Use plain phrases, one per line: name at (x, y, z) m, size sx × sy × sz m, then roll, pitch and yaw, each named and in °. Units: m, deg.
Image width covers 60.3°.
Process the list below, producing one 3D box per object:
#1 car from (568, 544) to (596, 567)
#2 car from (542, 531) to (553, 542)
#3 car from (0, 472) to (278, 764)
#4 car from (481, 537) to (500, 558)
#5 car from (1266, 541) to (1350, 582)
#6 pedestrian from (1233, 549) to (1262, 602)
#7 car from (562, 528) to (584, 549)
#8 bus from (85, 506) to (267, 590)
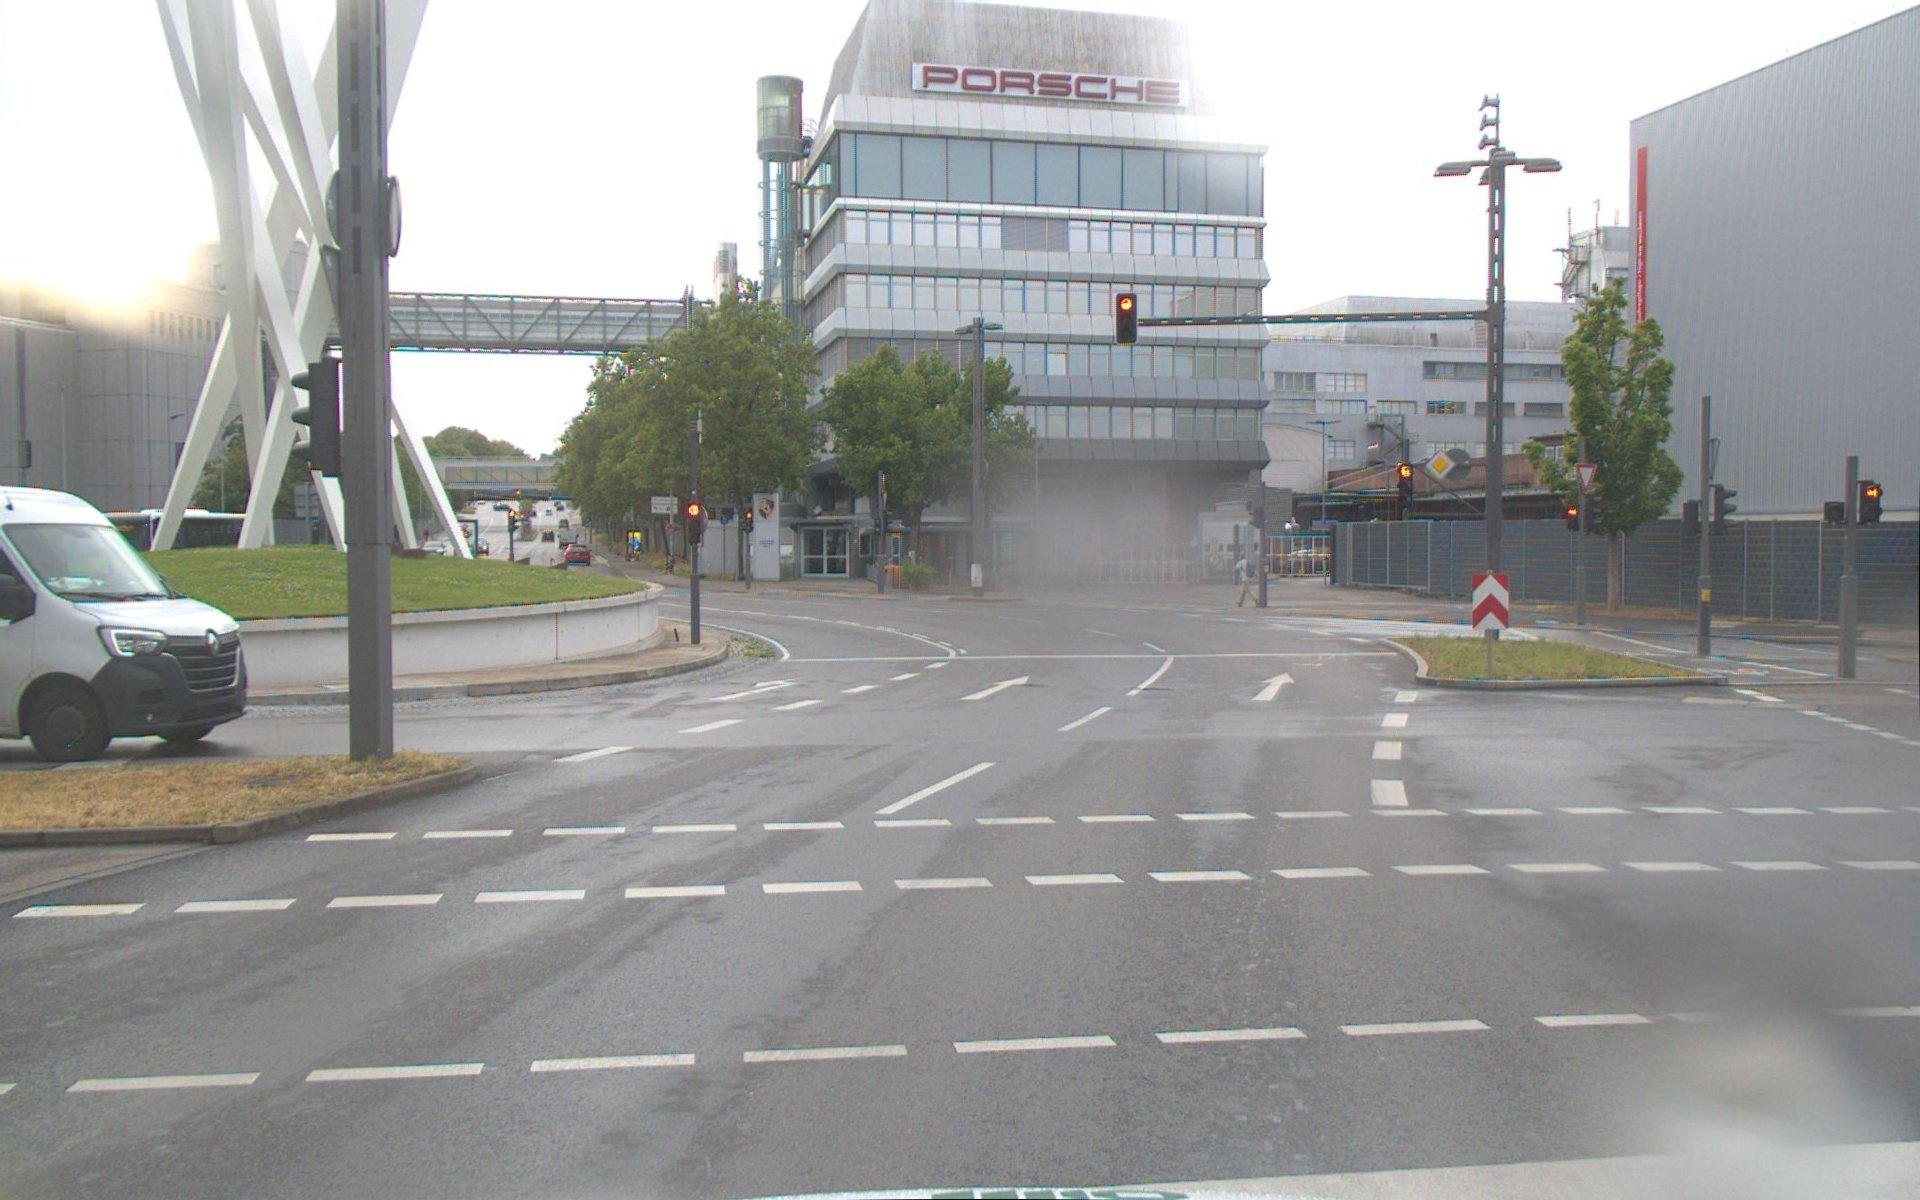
car at (-26.310, -3.105, 115.028) m, size 1.743 × 1.490 × 3.718 m, roll 0°, pitch 0°, yaw -15°
car at (-55.952, -8.652, 224.342) m, size 1.531 × 1.311 × 3.400 m, roll 0°, pitch 0°, yaw -15°
car at (-9.393, 0.159, 15.368) m, size 5.294 × 2.490 × 2.002 m, roll 0°, pitch 1°, yaw 6°
car at (-42.333, -4.725, 149.236) m, size 1.600 × 1.848 × 3.718 m, roll 0°, pitch 1°, yaw -15°
car at (17.418, -1.906, 82.700) m, size 1.964 × 2.004 × 4.866 m, roll 0°, pitch 1°, yaw 41°
pedestrian at (9.021, -0.775, 51.923) m, size 0.791 × 1.639 × 0.770 m, roll -1°, pitch -1°, yaw 16°
car at (-44.415, -7.008, 189.920) m, size 2.192 × 2.145 × 4.943 m, roll 0°, pitch -1°, yaw -10°
bus at (-33.182, -2.110, 70.773) m, size 2.616 × 3.257 × 12.659 m, roll 0°, pitch 1°, yaw -4°
